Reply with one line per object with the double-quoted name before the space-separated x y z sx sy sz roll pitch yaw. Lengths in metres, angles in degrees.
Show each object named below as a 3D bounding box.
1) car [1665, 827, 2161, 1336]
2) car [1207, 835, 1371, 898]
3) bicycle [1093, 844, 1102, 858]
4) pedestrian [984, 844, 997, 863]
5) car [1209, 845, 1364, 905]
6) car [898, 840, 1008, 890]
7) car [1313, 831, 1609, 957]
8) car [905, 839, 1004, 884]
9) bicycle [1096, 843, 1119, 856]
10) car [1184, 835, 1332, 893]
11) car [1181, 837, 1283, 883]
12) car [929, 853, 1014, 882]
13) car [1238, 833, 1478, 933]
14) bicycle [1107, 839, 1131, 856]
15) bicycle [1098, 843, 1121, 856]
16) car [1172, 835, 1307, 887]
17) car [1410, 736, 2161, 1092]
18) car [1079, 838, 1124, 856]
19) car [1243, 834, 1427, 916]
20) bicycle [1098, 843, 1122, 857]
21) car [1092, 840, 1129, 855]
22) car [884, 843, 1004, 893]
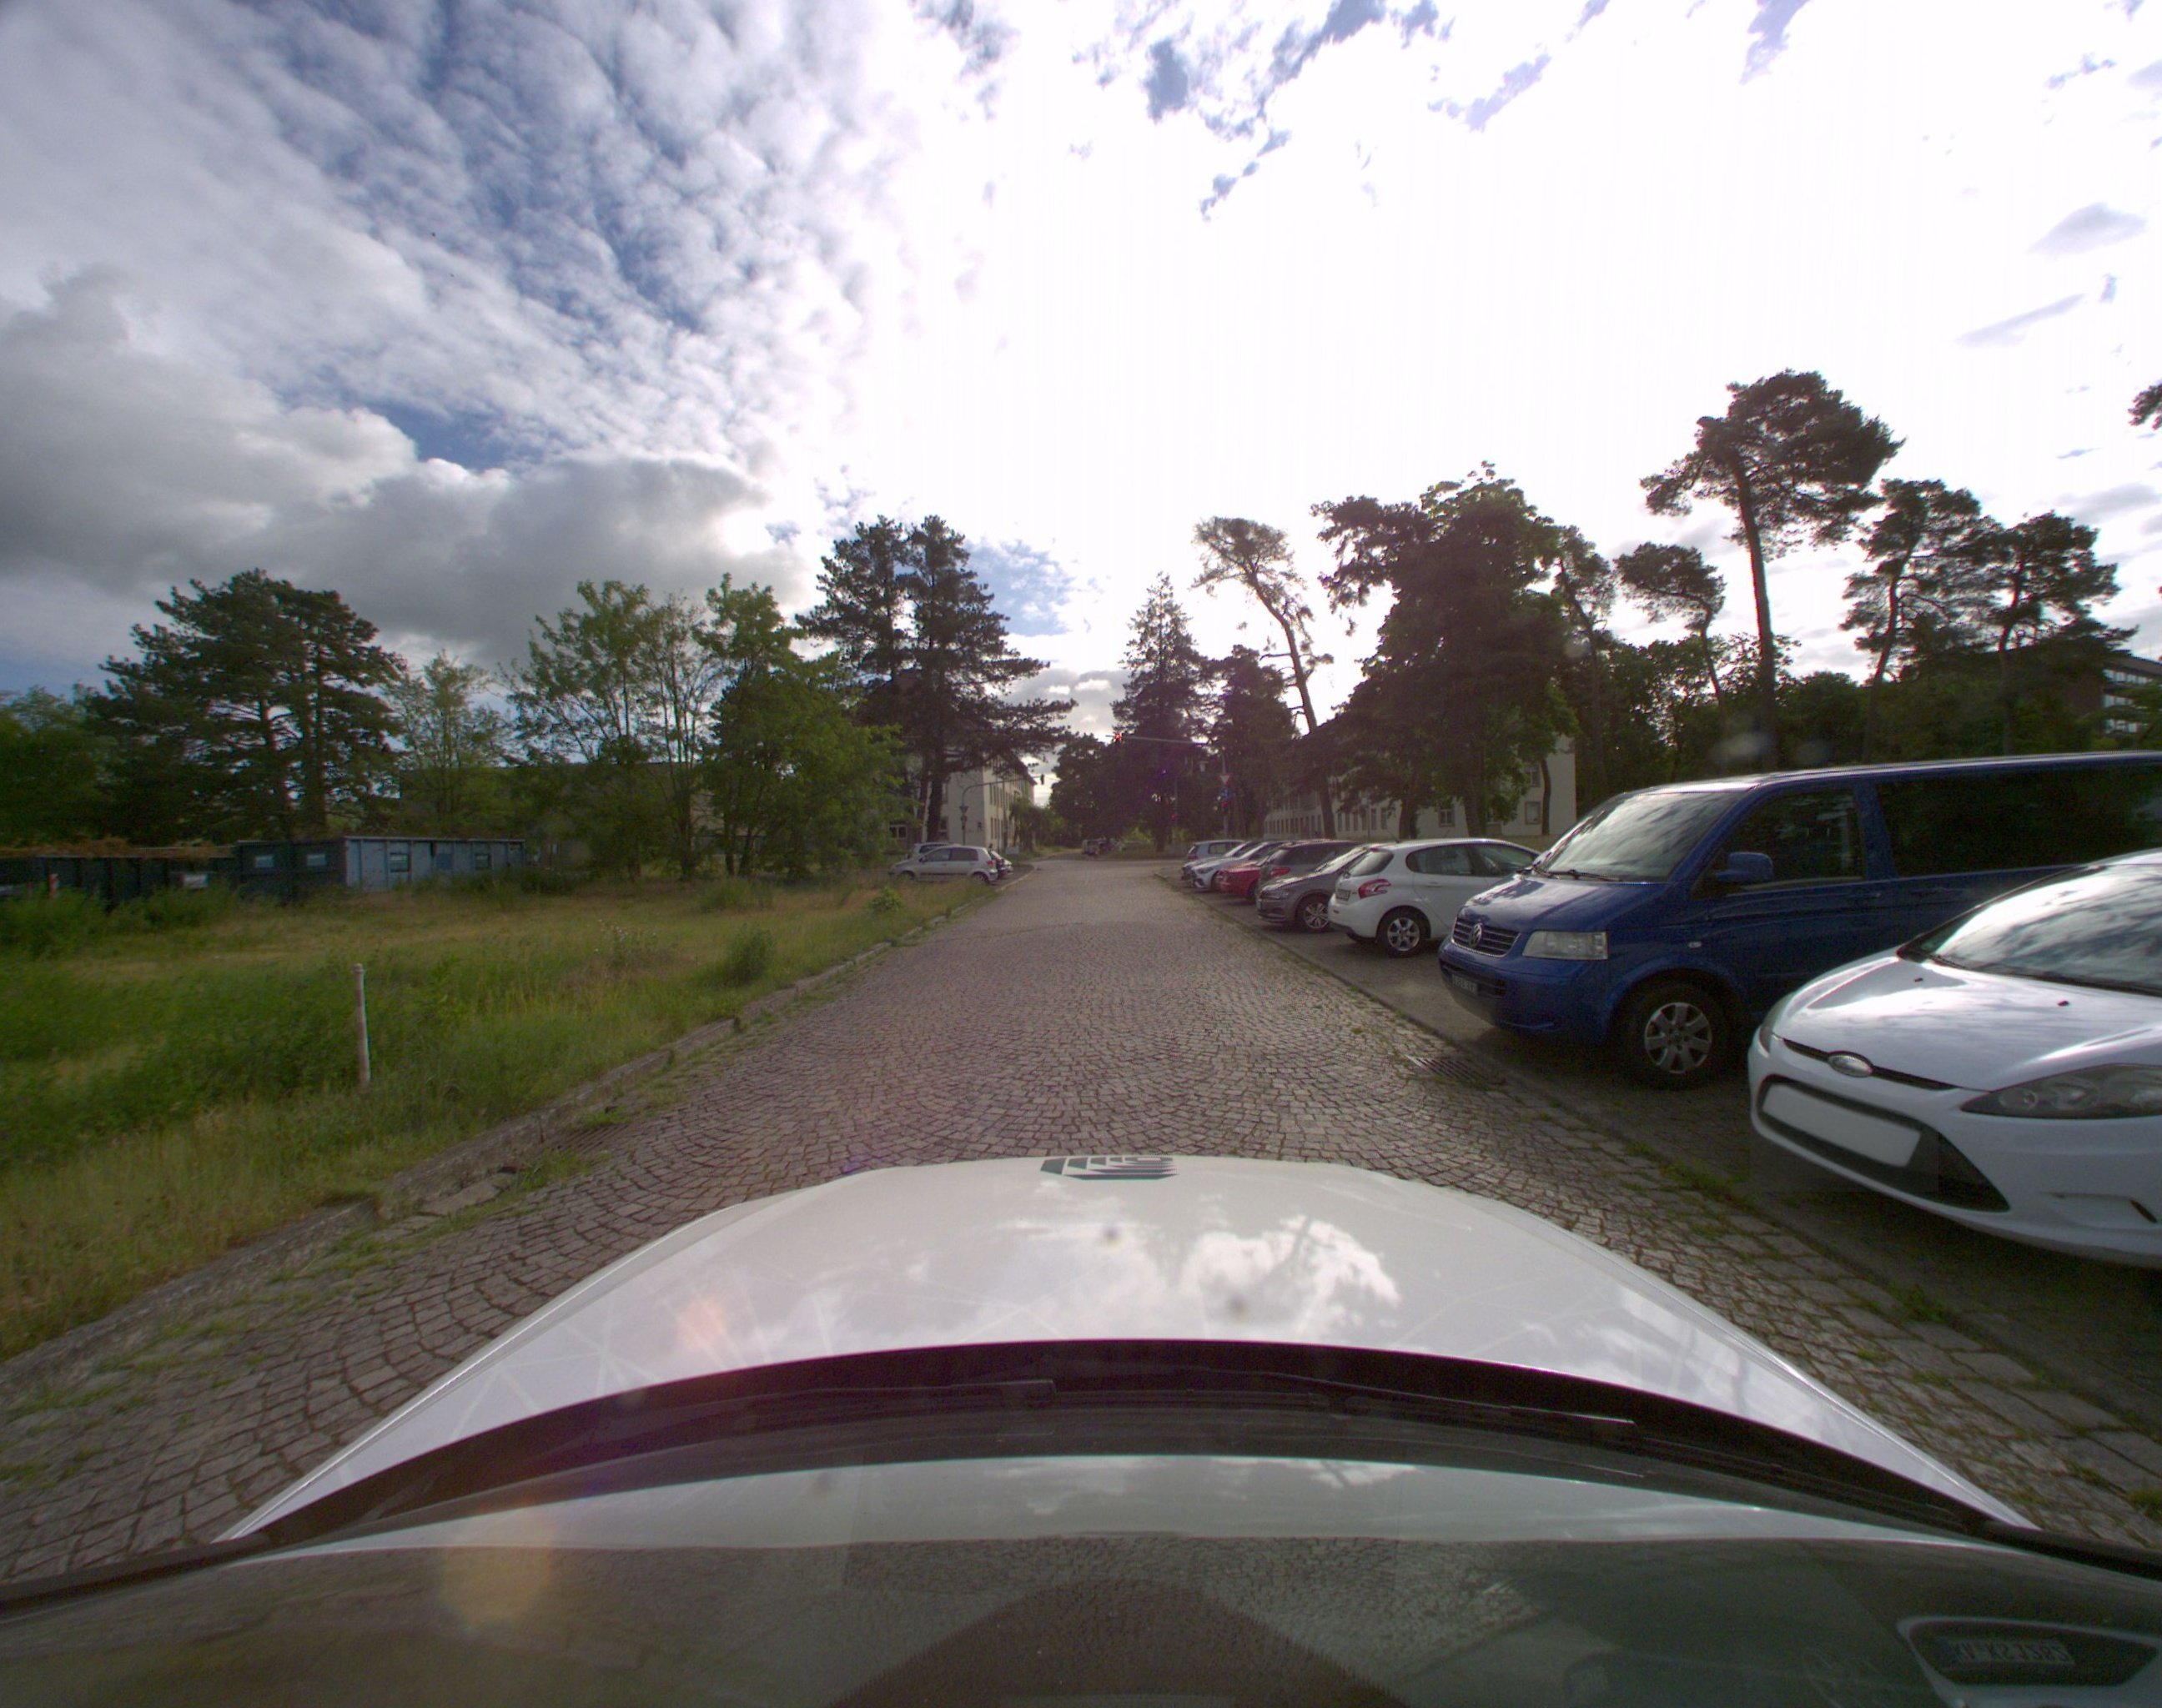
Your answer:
"car" 4.836 0.626 3.346 3.713 1.424 1.653 -3 1 -2
"car" 5.566 0.306 22.023 3.981 1.543 1.661 -1 1 -6
"bicycle" 1.497 -0.306 74.861 0.807 1.268 1.974 -1 1 2
"pedestrian" -6.989 -0.043 62.916 0.895 1.498 0.904 -1 1 1
"car" 4.919 0.472 19.777 3.287 1.267 1.661 -2 1 -6
"car" -4.850 0.390 31.326 3.981 1.705 1.996 -2 1 -6
"car" 5.085 0.487 11.193 3.283 1.504 1.663 -2 1 -2
"car" -5.270 0.284 34.331 3.983 1.749 1.923 -1 1 -7
"bicycle" 2.580 -0.430 80.421 2.158 1.268 0.811 -1 1 -6
"car" 5.204 0.256 24.259 3.981 1.543 1.661 -2 1 -6
"car" 5.481 0.189 29.641 3.384 1.543 1.388 -2 1 -6
"car" -4.850 0.588 36.553 3.666 1.093 1.643 -2 1 -6
"car" 4.752 0.449 14.183 3.598 1.506 1.658 -2 1 -10
"bicycle" 3.734 -0.612 79.916 2.158 1.615 0.811 -1 1 -6
"bicycle" 2.800 -0.428 79.207 2.158 1.268 0.811 -1 1 -6
"car" 5.220 0.216 27.071 4.116 1.543 1.661 -2 1 -6
"car" 5.078 0.332 5.799 4.768 2.039 1.738 -2 1 -1
"car" 2.454 -0.877 96.442 5.051 2.013 1.993 -1 1 -10
"car" 5.261 0.396 17.061 3.293 1.504 1.658 -2 1 -10
"bicycle" 2.796 -0.427 78.620 2.158 1.268 0.811 -1 1 -6
"car" 3.377 -0.741 93.166 3.981 1.644 1.996 -1 1 -6
"car" -4.768 0.455 28.873 3.981 1.552 1.996 -2 1 -6
